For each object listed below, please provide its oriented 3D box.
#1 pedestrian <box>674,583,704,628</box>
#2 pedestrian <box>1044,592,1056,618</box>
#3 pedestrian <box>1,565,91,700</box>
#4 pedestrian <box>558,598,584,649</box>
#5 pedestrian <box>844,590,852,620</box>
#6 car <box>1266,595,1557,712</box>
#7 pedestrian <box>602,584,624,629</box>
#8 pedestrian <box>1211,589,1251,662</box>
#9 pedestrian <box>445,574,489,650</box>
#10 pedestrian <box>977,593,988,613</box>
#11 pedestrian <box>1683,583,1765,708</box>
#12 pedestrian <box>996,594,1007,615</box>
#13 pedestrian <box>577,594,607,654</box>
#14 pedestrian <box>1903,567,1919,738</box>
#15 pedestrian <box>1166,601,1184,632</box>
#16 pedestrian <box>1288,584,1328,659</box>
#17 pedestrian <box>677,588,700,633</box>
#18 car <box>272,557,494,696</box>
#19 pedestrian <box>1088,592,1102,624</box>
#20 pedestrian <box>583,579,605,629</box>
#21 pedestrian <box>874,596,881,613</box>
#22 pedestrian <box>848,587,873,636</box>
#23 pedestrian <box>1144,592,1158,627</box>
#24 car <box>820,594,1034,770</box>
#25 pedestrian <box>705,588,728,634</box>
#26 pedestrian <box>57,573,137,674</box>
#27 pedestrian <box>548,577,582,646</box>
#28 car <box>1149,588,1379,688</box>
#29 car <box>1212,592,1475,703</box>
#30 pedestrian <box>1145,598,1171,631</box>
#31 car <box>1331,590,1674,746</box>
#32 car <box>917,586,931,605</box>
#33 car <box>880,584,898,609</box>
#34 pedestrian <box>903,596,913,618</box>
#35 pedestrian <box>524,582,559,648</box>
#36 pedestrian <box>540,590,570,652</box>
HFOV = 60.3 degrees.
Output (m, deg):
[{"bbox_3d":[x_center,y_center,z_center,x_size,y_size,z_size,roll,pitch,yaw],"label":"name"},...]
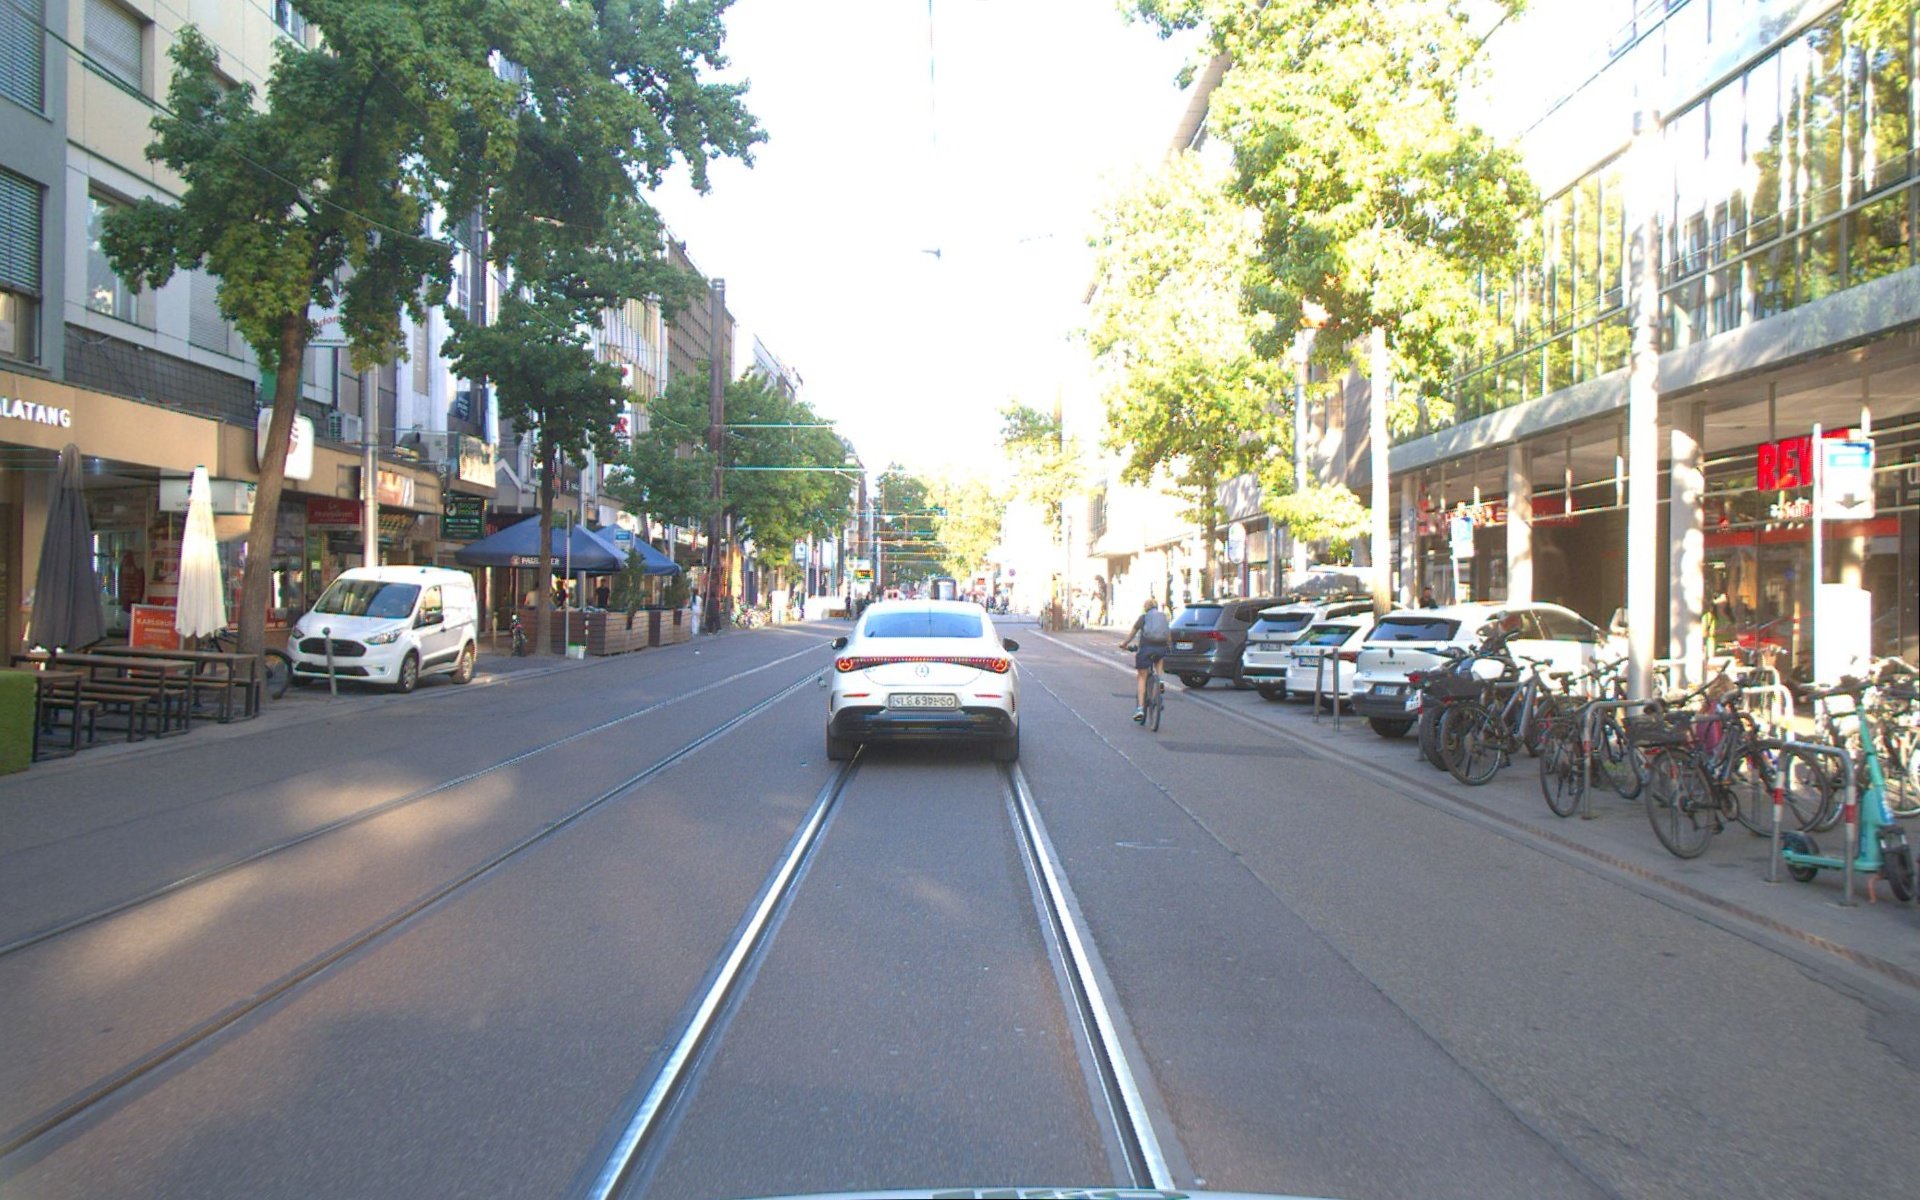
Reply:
[{"bbox_3d":[-10.814,0.217,65.999,0.832,1.771,0.835,2,0,19],"label":"pedestrian"},{"bbox_3d":[6.179,0.336,114.019,0.733,1.816,0.766,-1,0,-1],"label":"pedestrian"},{"bbox_3d":[-11.238,0.389,20.354,0.634,1.601,0.700,3,0,-1],"label":"pedestrian"},{"bbox_3d":[-9.530,0.572,40.504,0.484,1.249,0.535,1,0,-1],"label":"pedestrian"},{"bbox_3d":[-7.498,0.335,110.900,0.560,1.963,0.540,0,0,-5],"label":"pedestrian"},{"bbox_3d":[6.795,0.757,24.849,4.093,1.525,1.676,-2,0,-25],"label":"car"},{"bbox_3d":[-12.404,0.232,59.063,0.585,1.559,0.671,2,0,0],"label":"pedestrian"},{"bbox_3d":[6.472,0.602,39.524,0.667,1.715,0.694,-2,0,33],"label":"pedestrian"},{"bbox_3d":[-11.367,0.275,38.171,0.653,1.715,1.005,2,0,-1],"label":"pedestrian"},{"bbox_3d":[1.961,0.264,146.087,0.941,1.816,0.803,-1,0,-1],"label":"pedestrian"},{"bbox_3d":[10.411,0.606,22.564,0.699,1.652,0.882,-1,0,1],"label":"pedestrian"},{"bbox_3d":[3.717,0.415,147.884,0.941,1.816,0.803,-1,0,-1],"label":"pedestrian"},{"bbox_3d":[-8.708,0.561,39.152,0.538,1.380,0.582,1,0,-1],"label":"pedestrian"},{"bbox_3d":[10.231,0.536,17.146,0.545,1.781,0.525,-2,0,0],"label":"pedestrian"},{"bbox_3d":[8.769,0.672,67.422,0.652,1.219,0.785,1,0,4],"label":"pedestrian"},{"bbox_3d":[8.298,0.512,39.459,0.677,1.761,0.629,-2,0,42],"label":"pedestrian"},{"bbox_3d":[-9.543,0.354,58.109,0.609,1.535,0.833,3,0,0],"label":"pedestrian"},{"bbox_3d":[-8.912,0.369,25.992,1.759,1.897,4.553,3,0,0],"label":"car"},{"bbox_3d":[8.005,0.469,98.017,0.687,1.844,1.033,-3,0,-1],"label":"pedestrian"},{"bbox_3d":[-13.068,0.139,59.067,0.585,1.775,0.671,2,0,0],"label":"pedestrian"},{"bbox_3d":[-7.707,0.410,154.554,0.646,1.627,0.573,0,0,-2],"label":"pedestrian"},{"bbox_3d":[-3.833,0.434,63.816,0.824,1.832,0.790,2,0,0],"label":"pedestrian"},{"bbox_3d":[9.305,0.447,80.578,0.624,1.682,0.781,1,0,1],"label":"pedestrian"},{"bbox_3d":[-0.308,0.704,16.404,1.819,1.481,4.174,1,0,-1],"label":"car"},{"bbox_3d":[-8.583,0.377,58.251,0.609,1.577,0.852,3,0,0],"label":"pedestrian"},{"bbox_3d":[-13.217,0.353,25.353,0.754,1.492,0.764,3,0,-3],"label":"pedestrian"},{"bbox_3d":[-10.311,0.298,43.161,0.703,1.755,0.675,1,0,-2],"label":"pedestrian"},{"bbox_3d":[5.822,0.684,31.481,4.300,1.681,1.676,-2,0,-32],"label":"car"},{"bbox_3d":[6.428,0.749,27.632,4.194,1.615,1.864,-2,0,-32],"label":"car"},{"bbox_3d":[8.486,0.632,70.929,0.822,1.401,0.772,1,0,-23],"label":"pedestrian"},{"bbox_3d":[6.643,0.751,20.137,4.110,1.598,1.832,-2,0,-34],"label":"car"},{"bbox_3d":[-5.455,-0.691,252.242,2.056,2.948,5.274,0,0,0],"label":"car"},{"bbox_3d":[-8.650,-0.422,201.374,1.953,2.948,5.274,0,0,0],"label":"car"},{"bbox_3d":[-4.324,0.579,137.344,0.784,1.813,0.848,2,0,-2],"label":"pedestrian"},{"bbox_3d":[-10.447,0.370,41.345,0.659,1.635,0.719,1,0,-1],"label":"pedestrian"},{"bbox_3d":[-9.587,0.487,39.192,0.538,1.454,0.582,1,0,-1],"label":"pedestrian"}]
